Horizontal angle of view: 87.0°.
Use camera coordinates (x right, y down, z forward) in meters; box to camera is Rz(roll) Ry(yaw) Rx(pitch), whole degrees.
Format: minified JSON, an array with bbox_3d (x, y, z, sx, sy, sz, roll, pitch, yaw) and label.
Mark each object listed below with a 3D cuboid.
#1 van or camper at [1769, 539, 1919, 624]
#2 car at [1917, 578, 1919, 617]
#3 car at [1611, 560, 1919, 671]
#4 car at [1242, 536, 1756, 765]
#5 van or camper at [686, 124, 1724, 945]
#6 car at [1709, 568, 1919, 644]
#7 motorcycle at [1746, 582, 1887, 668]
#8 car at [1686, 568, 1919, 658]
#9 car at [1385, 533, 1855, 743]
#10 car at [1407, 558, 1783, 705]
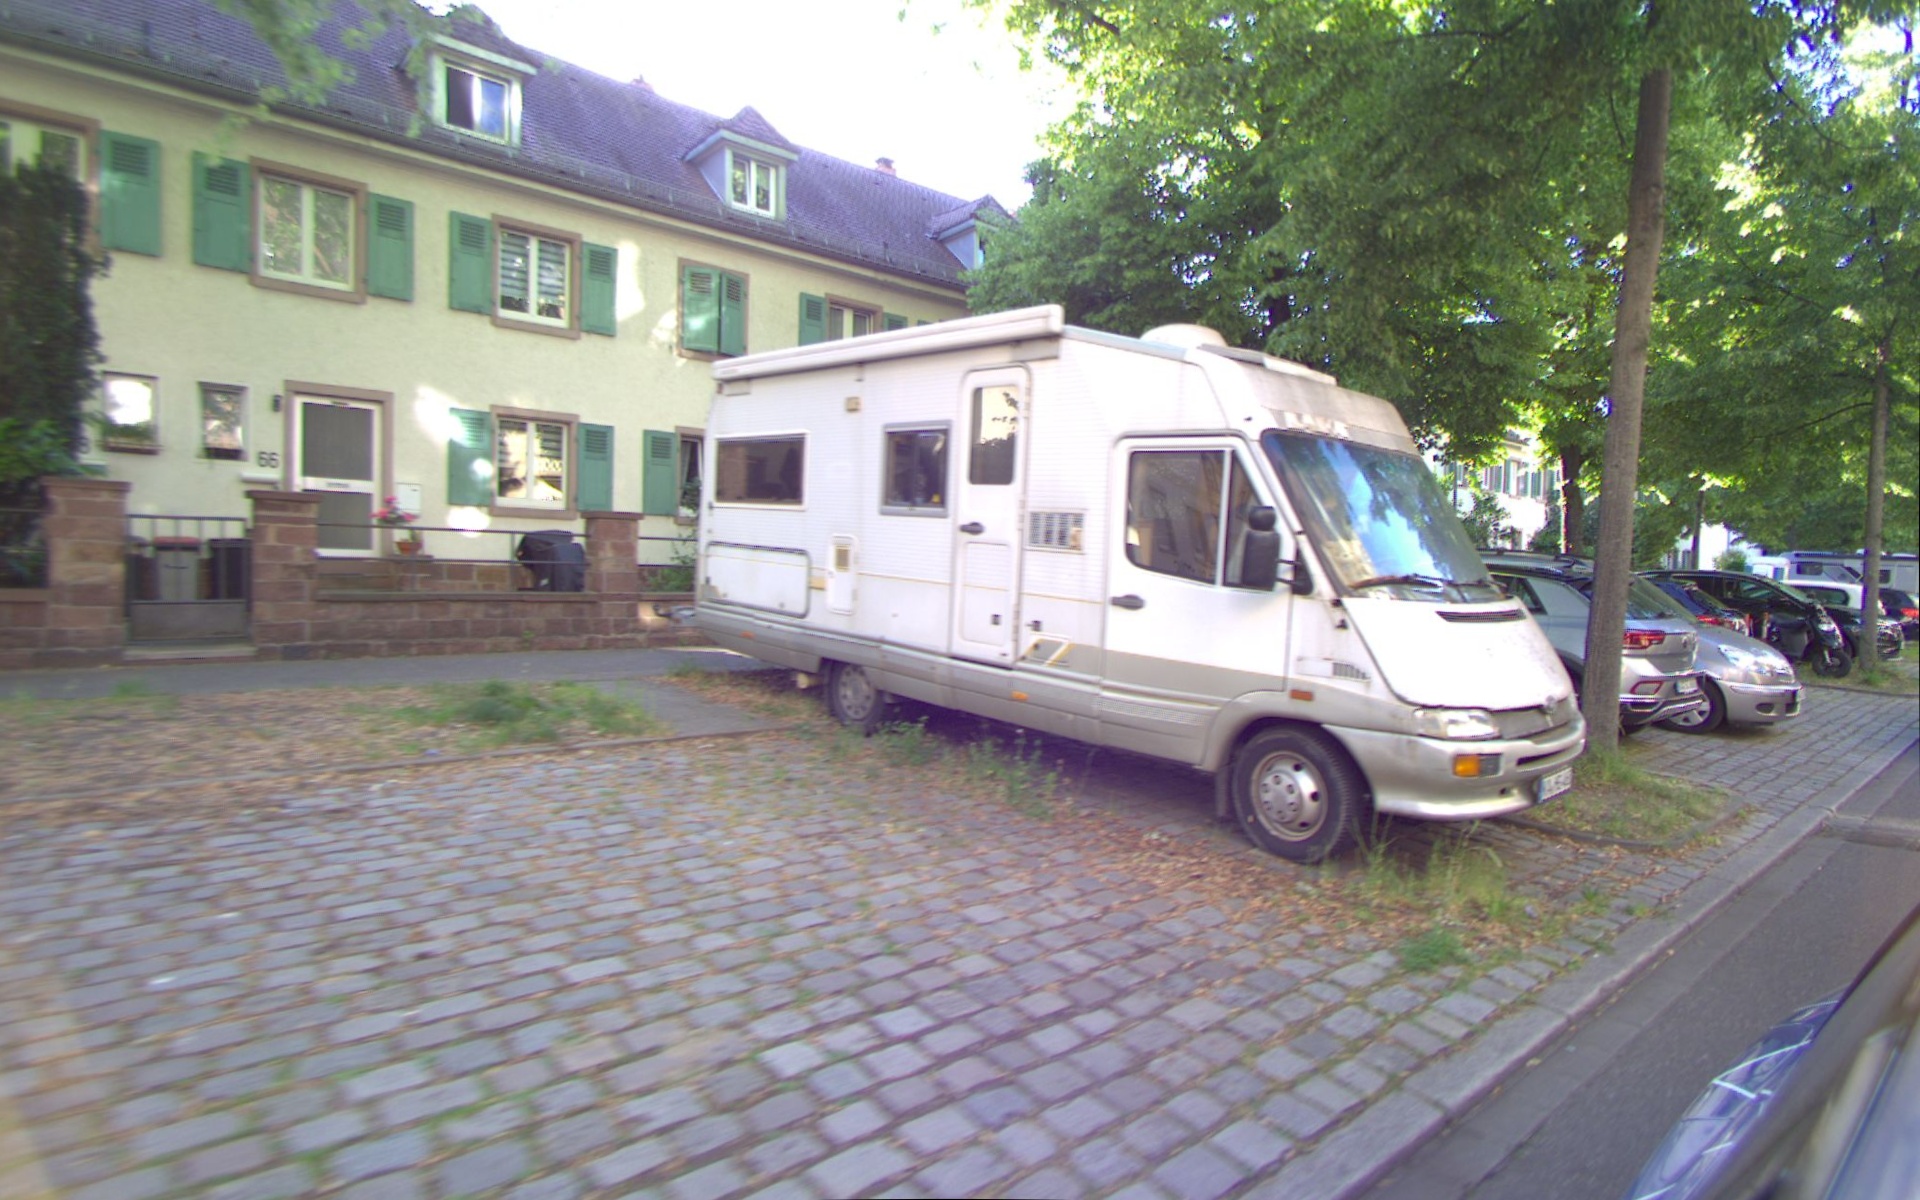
[{"bbox_3d":[33.931,-0.692,36.349,2.385,2.939,7.264,-2,3,-40],"label":"van or camper"},{"bbox_3d":[46.799,-0.051,46.427,1.965,1.836,3.996,0,2,-40],"label":"car"},{"bbox_3d":[14.792,0.166,18.604,1.895,1.627,4.342,-1,5,-41],"label":"car"},{"bbox_3d":[5.032,0.276,9.947,1.868,1.617,3.976,-1,6,-38],"label":"car"},{"bbox_3d":[0.832,-0.393,7.290,2.423,3.115,7.086,0,2,-43],"label":"van or camper"},{"bbox_3d":[21.129,0.099,24.499,1.721,1.495,4.471,0,5,-39],"label":"car"},{"bbox_3d":[13.138,0.347,15.604,0.725,1.212,1.774,1,2,5],"label":"motorcycle"},{"bbox_3d":[16.825,0.197,20.199,1.664,1.493,3.456,0,4,-40],"label":"car"},{"bbox_3d":[7.017,0.231,11.114,1.699,1.765,3.925,-1,5,-40],"label":"car"},{"bbox_3d":[8.279,0.287,13.417,3.879,1.490,1.759,6,5,45],"label":"car"}]
